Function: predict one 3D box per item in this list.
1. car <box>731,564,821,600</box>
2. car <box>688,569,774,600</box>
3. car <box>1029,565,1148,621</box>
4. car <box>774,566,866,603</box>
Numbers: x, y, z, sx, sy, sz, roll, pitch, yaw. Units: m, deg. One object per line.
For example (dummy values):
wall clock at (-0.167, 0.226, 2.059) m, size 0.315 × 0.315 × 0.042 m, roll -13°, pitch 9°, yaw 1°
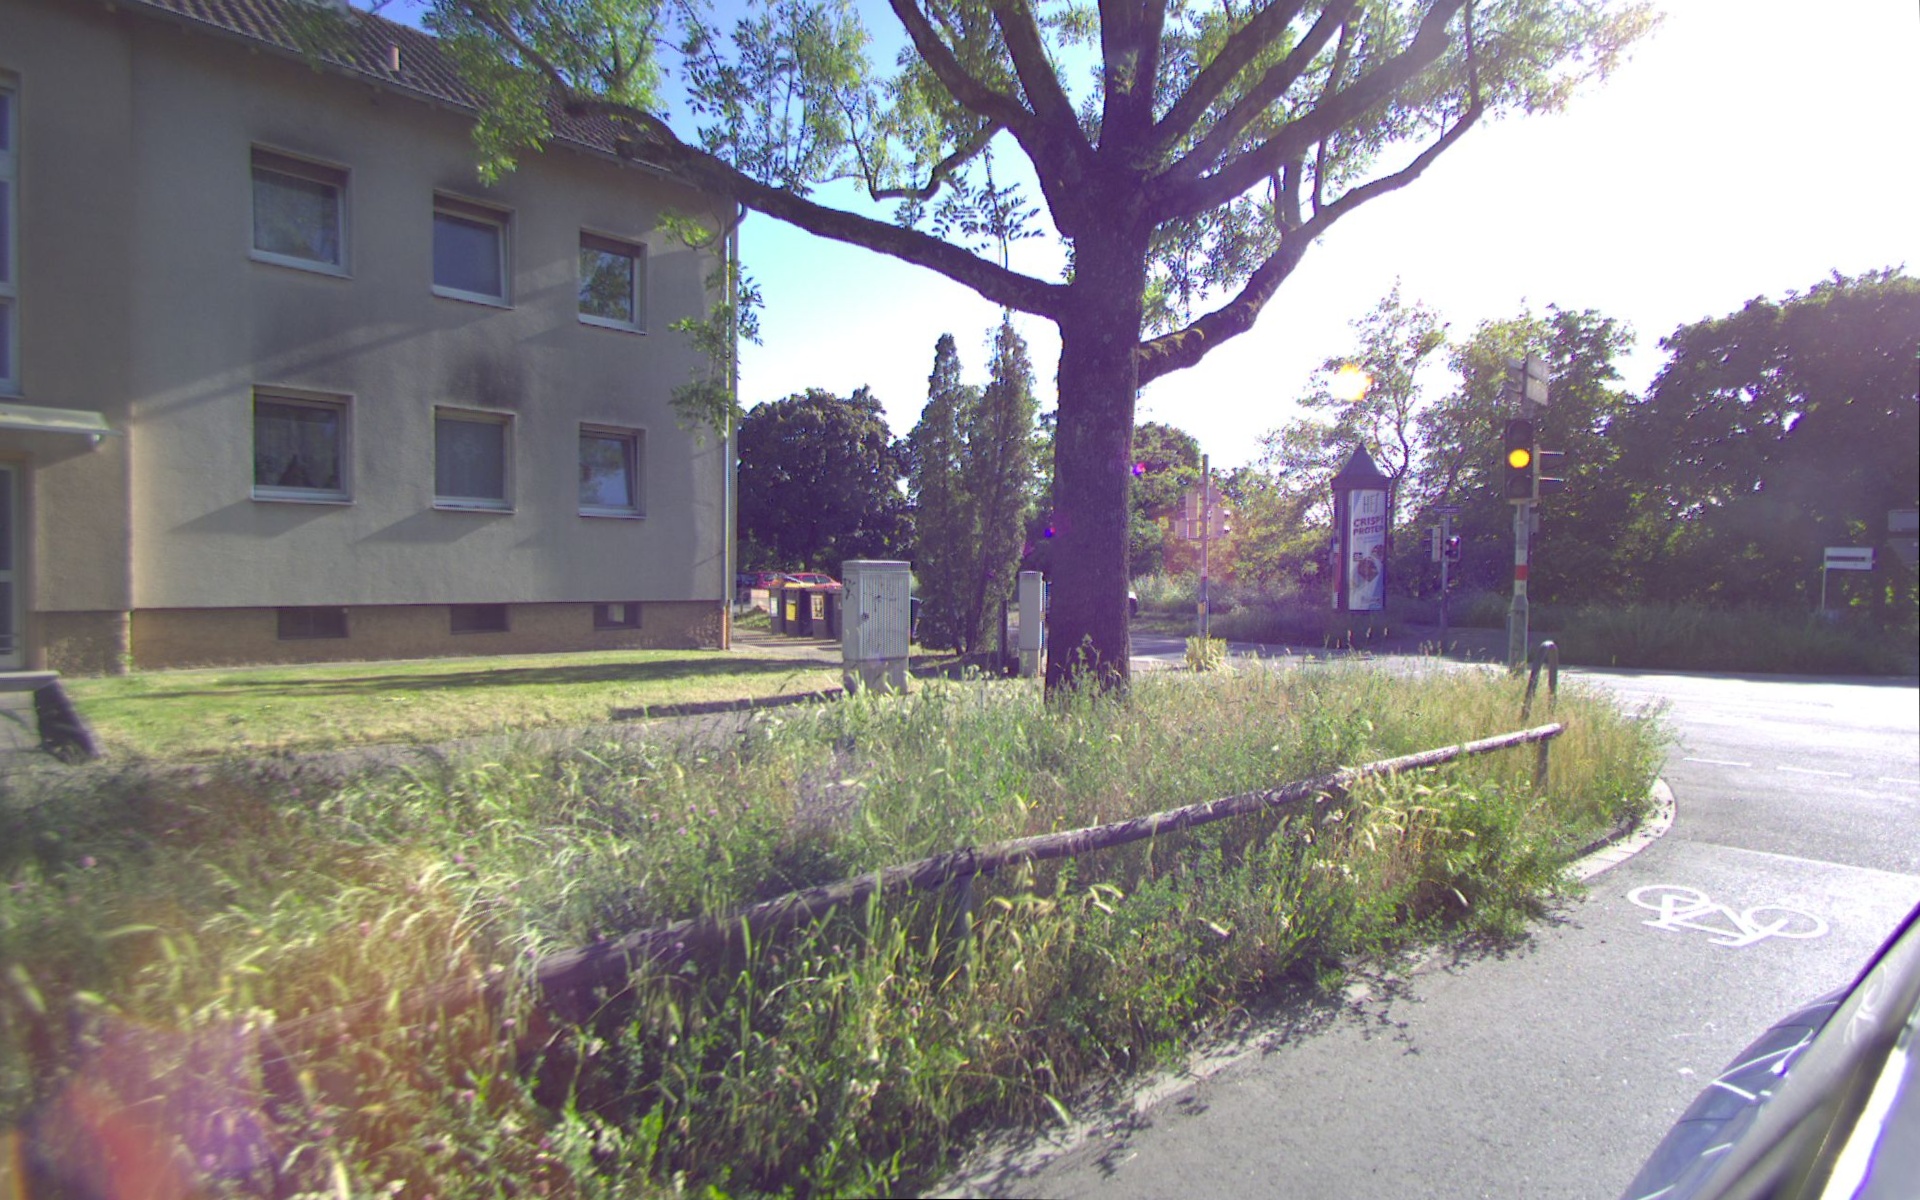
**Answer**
car at (-9.381, -0.937, 51.769) m, size 4.130 × 1.550 × 1.864 m, roll -5°, pitch 3°, yaw -44°
car at (-12.143, -0.812, 53.761) m, size 4.127 × 1.551 × 1.865 m, roll 0°, pitch 1°, yaw -44°
car at (4.626, -0.280, 36.112) m, size 4.377 × 1.670 × 1.864 m, roll -5°, pitch 3°, yaw -44°
car at (-6.788, -0.769, 49.423) m, size 4.130 × 1.550 × 1.864 m, roll -5°, pitch 3°, yaw -44°
